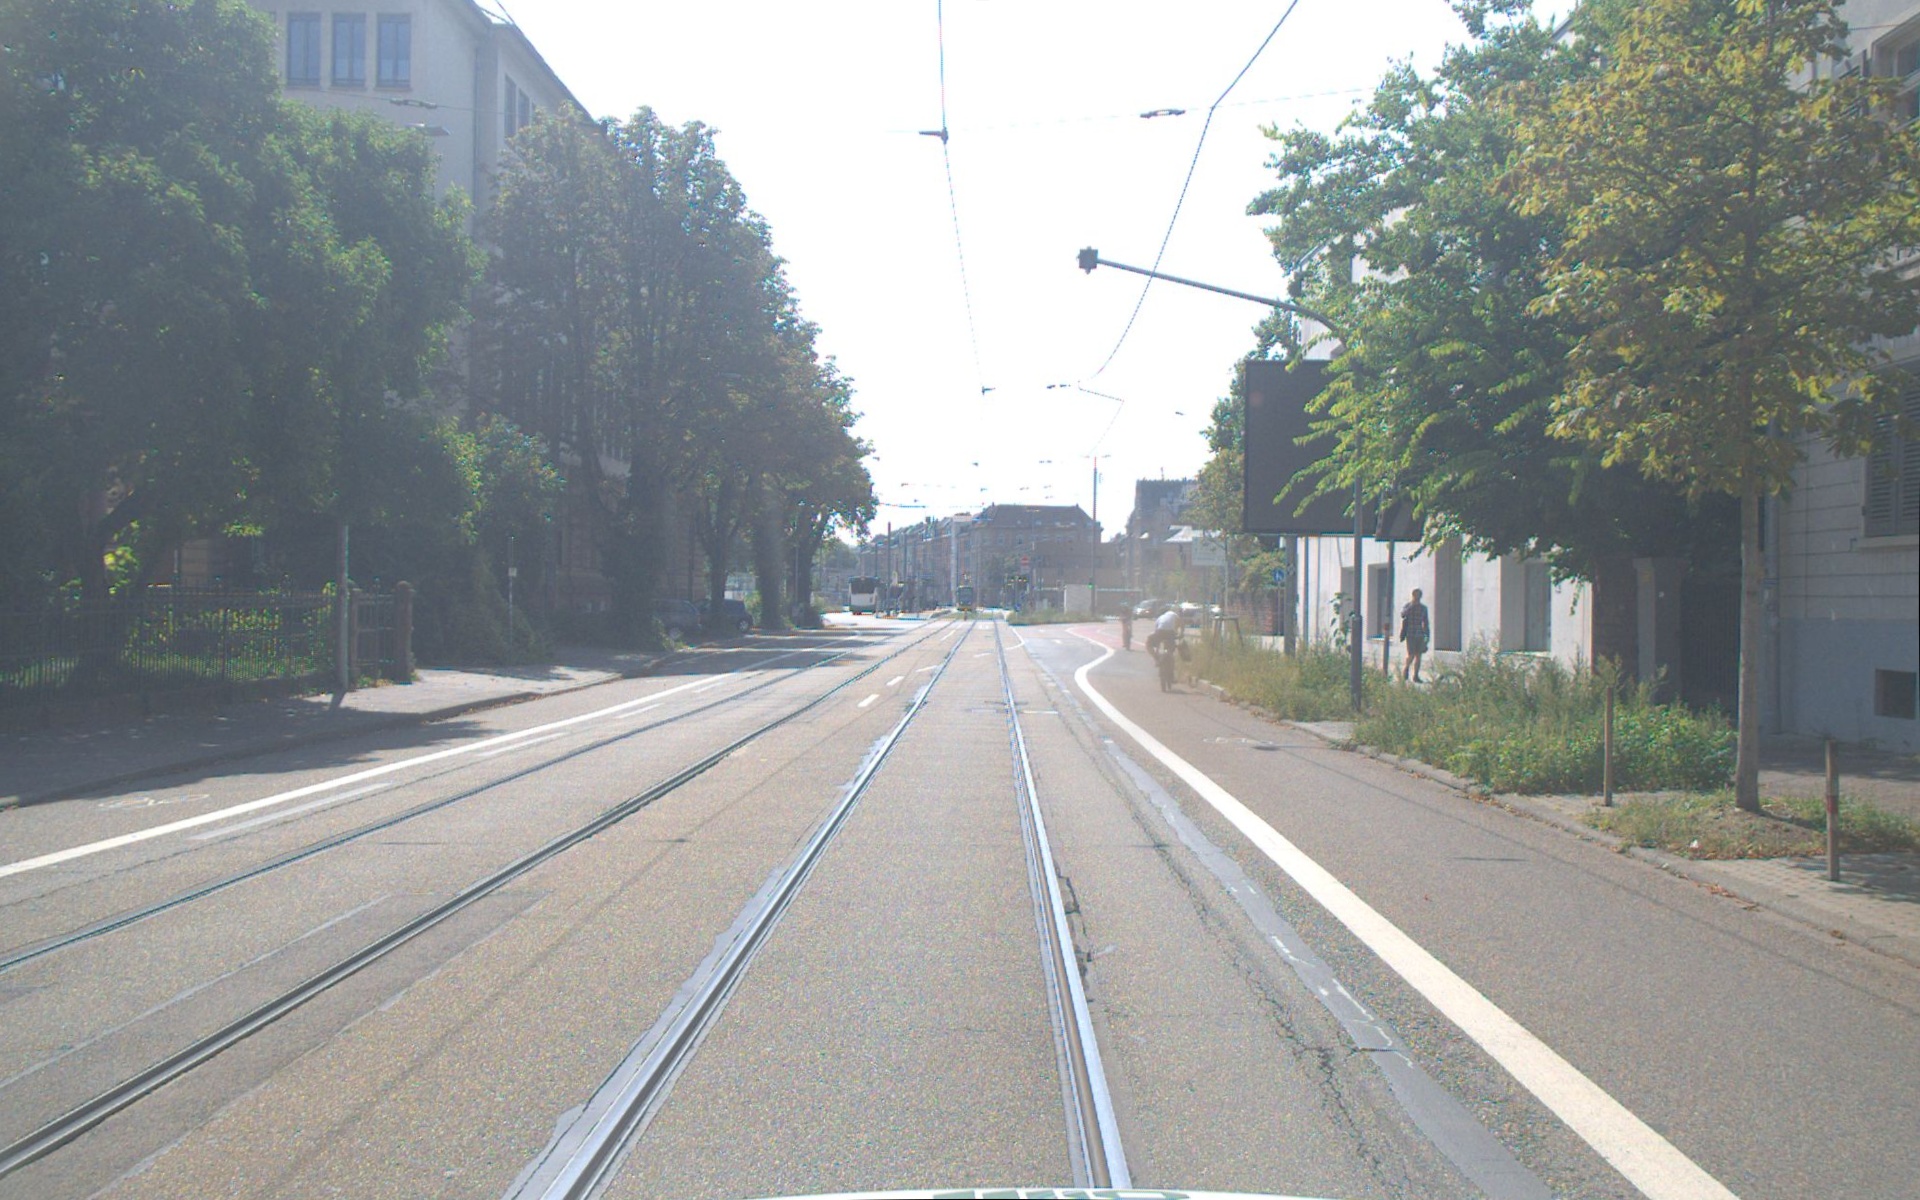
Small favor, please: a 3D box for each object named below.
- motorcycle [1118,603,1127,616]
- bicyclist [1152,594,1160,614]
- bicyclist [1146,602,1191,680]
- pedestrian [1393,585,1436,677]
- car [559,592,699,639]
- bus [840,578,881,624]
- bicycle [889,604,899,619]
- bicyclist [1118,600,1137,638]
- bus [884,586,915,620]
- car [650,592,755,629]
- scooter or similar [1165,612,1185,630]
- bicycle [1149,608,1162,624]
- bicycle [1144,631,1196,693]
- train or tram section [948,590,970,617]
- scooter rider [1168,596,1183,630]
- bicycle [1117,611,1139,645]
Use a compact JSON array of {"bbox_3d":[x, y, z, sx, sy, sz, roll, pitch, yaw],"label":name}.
[{"bbox_3d":[15.509,0.885,158.048,0.591,1.232,2.255,1,0,12],"label":"motorcycle"},{"bbox_3d":[14.439,0.302,121.675,0.441,1.446,0.495,0,-1,29],"label":"bicyclist"},{"bbox_3d":[3.946,0.770,31.305,0.729,1.436,0.962,1,0,1],"label":"bicyclist"},{"bbox_3d":[8.733,0.589,31.817,0.677,1.762,0.579,0,0,3],"label":"pedestrian"},{"bbox_3d":[-11.271,0.539,56.360,4.360,1.487,1.806,1,0,-26],"label":"car"},{"bbox_3d":[-8.818,0.120,148.208,2.897,3.841,10.596,1,0,0],"label":"bus"},{"bbox_3d":[-5.345,0.950,134.792,0.594,1.244,1.706,1,0,5],"label":"bicycle"},{"bbox_3d":[5.986,0.669,59.135,0.590,1.358,0.660,1,0,1],"label":"bicyclist"},{"bbox_3d":[-7.036,0.367,193.270,2.653,3.792,10.422,1,0,2],"label":"bus"},{"bbox_3d":[-11.129,0.457,71.603,4.118,1.522,1.798,1,0,-37],"label":"car"},{"bbox_3d":[11.642,1.140,89.635,0.756,0.943,1.621,1,0,18],"label":"scooter or similar"},{"bbox_3d":[14.395,1.188,121.568,0.435,1.136,1.444,0,0,29],"label":"bicycle"},{"bbox_3d":[3.956,1.152,31.305,0.724,1.067,2.233,1,0,1],"label":"bicycle"},{"bbox_3d":[-0.021,0.468,233.361,2.797,3.610,17.743,1,0,1],"label":"train or tram section"},{"bbox_3d":[11.689,0.714,89.723,0.746,1.806,0.555,0,0,18],"label":"scooter rider"},{"bbox_3d":[5.996,0.998,59.114,0.591,1.183,1.810,1,0,0],"label":"bicycle"}]
